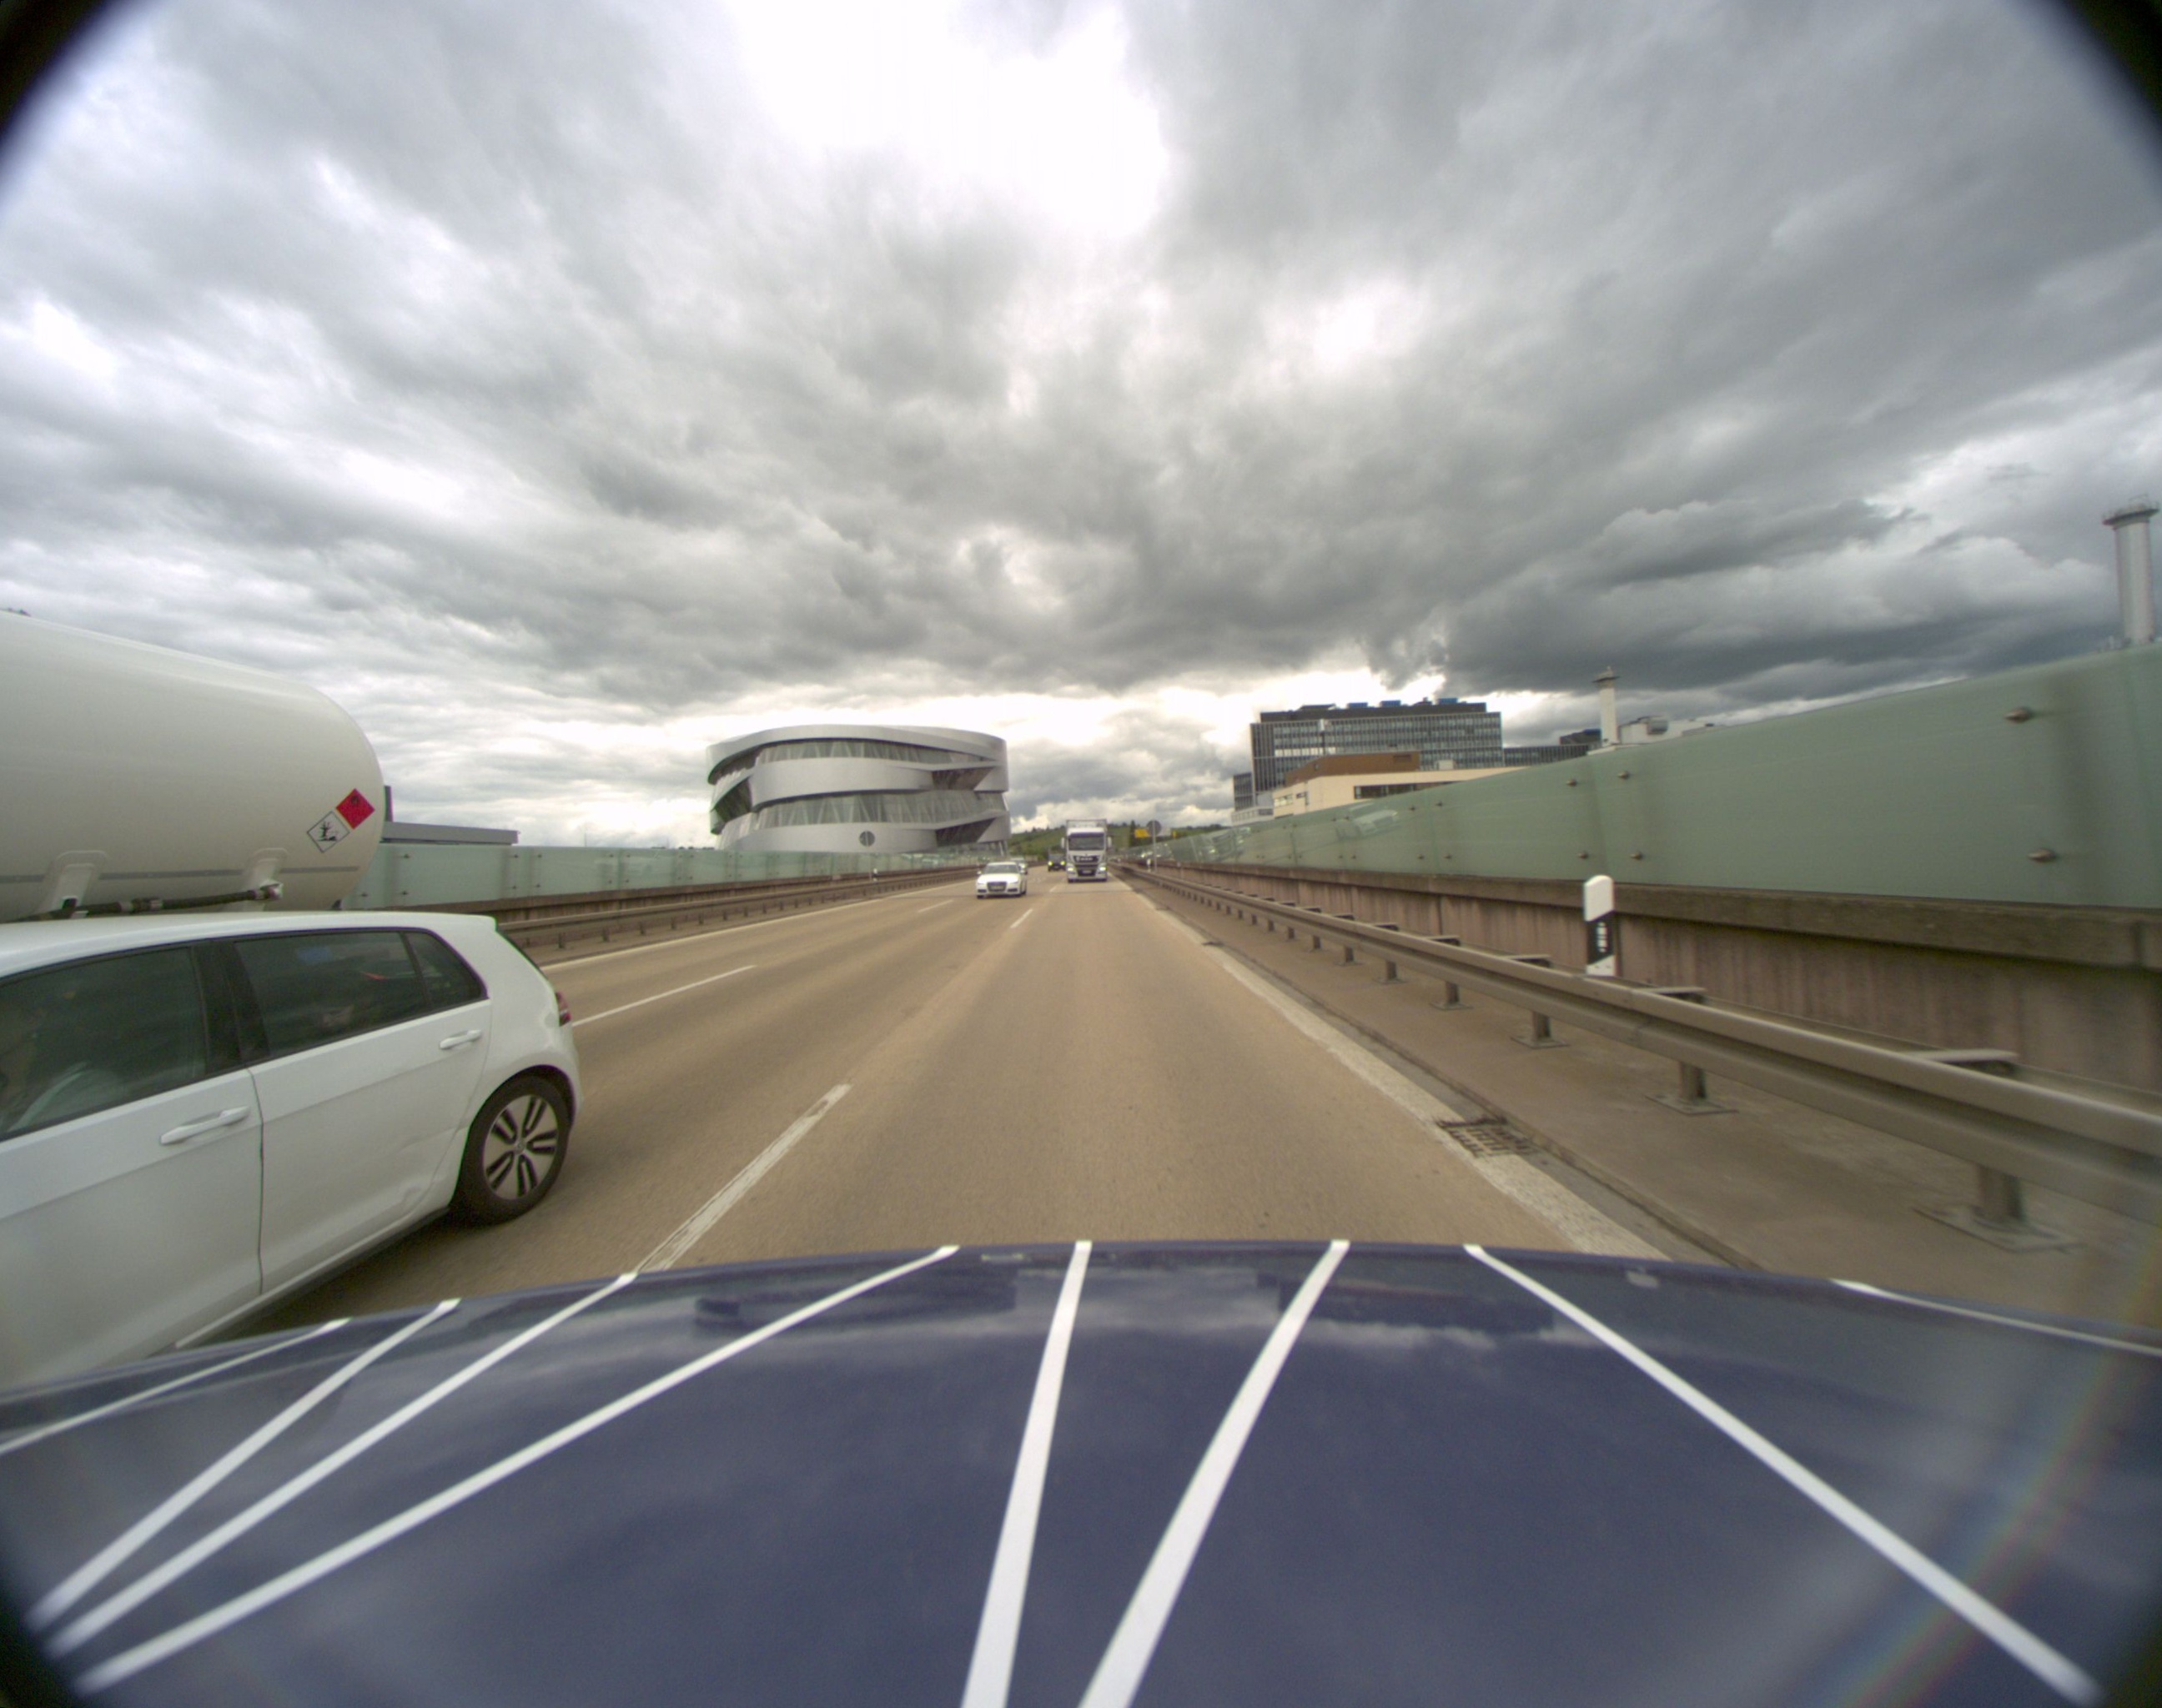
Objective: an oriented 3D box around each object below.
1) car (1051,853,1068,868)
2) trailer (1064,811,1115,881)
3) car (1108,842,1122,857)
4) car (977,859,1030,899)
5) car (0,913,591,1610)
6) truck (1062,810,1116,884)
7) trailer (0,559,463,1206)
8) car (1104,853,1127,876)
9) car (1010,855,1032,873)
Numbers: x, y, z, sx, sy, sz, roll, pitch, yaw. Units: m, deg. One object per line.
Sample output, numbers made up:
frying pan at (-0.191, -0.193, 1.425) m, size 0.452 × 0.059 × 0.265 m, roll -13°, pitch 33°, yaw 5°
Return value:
car at (-2.457, 0.747, 88.333) m, size 1.765 × 1.624 × 3.628 m, roll -2°, pitch 0°, yaw 2°
trailer at (0.713, -0.485, 50.785) m, size 2.879 × 4.104 × 11.221 m, roll -2°, pitch 0°, yaw 2°
car at (5.839, -0.813, 129.966) m, size 2.144 × 2.494 × 4.524 m, roll -2°, pitch 0°, yaw 1°
car at (-3.138, 0.989, 31.492) m, size 1.848 × 1.443 × 3.932 m, roll -2°, pitch 0°, yaw -1°
car at (-3.380, 1.036, 1.802) m, size 1.759 × 1.443 × 4.072 m, roll -1°, pitch 0°, yaw 0°
truck at (0.605, -0.414, 46.547) m, size 2.945 × 4.136 × 6.292 m, roll -2°, pitch 0°, yaw 3°
trailer at (-7.258, 0.200, 1.471) m, size 2.657 × 3.523 × 11.219 m, roll -2°, pitch 0°, yaw 1°
car at (3.171, 0.939, 70.483) m, size 1.998 × 2.002 × 4.000 m, roll -2°, pitch 0°, yaw 0°
car at (-5.898, 0.962, 74.908) m, size 1.785 × 1.624 × 3.628 m, roll -2°, pitch 0°, yaw 2°
